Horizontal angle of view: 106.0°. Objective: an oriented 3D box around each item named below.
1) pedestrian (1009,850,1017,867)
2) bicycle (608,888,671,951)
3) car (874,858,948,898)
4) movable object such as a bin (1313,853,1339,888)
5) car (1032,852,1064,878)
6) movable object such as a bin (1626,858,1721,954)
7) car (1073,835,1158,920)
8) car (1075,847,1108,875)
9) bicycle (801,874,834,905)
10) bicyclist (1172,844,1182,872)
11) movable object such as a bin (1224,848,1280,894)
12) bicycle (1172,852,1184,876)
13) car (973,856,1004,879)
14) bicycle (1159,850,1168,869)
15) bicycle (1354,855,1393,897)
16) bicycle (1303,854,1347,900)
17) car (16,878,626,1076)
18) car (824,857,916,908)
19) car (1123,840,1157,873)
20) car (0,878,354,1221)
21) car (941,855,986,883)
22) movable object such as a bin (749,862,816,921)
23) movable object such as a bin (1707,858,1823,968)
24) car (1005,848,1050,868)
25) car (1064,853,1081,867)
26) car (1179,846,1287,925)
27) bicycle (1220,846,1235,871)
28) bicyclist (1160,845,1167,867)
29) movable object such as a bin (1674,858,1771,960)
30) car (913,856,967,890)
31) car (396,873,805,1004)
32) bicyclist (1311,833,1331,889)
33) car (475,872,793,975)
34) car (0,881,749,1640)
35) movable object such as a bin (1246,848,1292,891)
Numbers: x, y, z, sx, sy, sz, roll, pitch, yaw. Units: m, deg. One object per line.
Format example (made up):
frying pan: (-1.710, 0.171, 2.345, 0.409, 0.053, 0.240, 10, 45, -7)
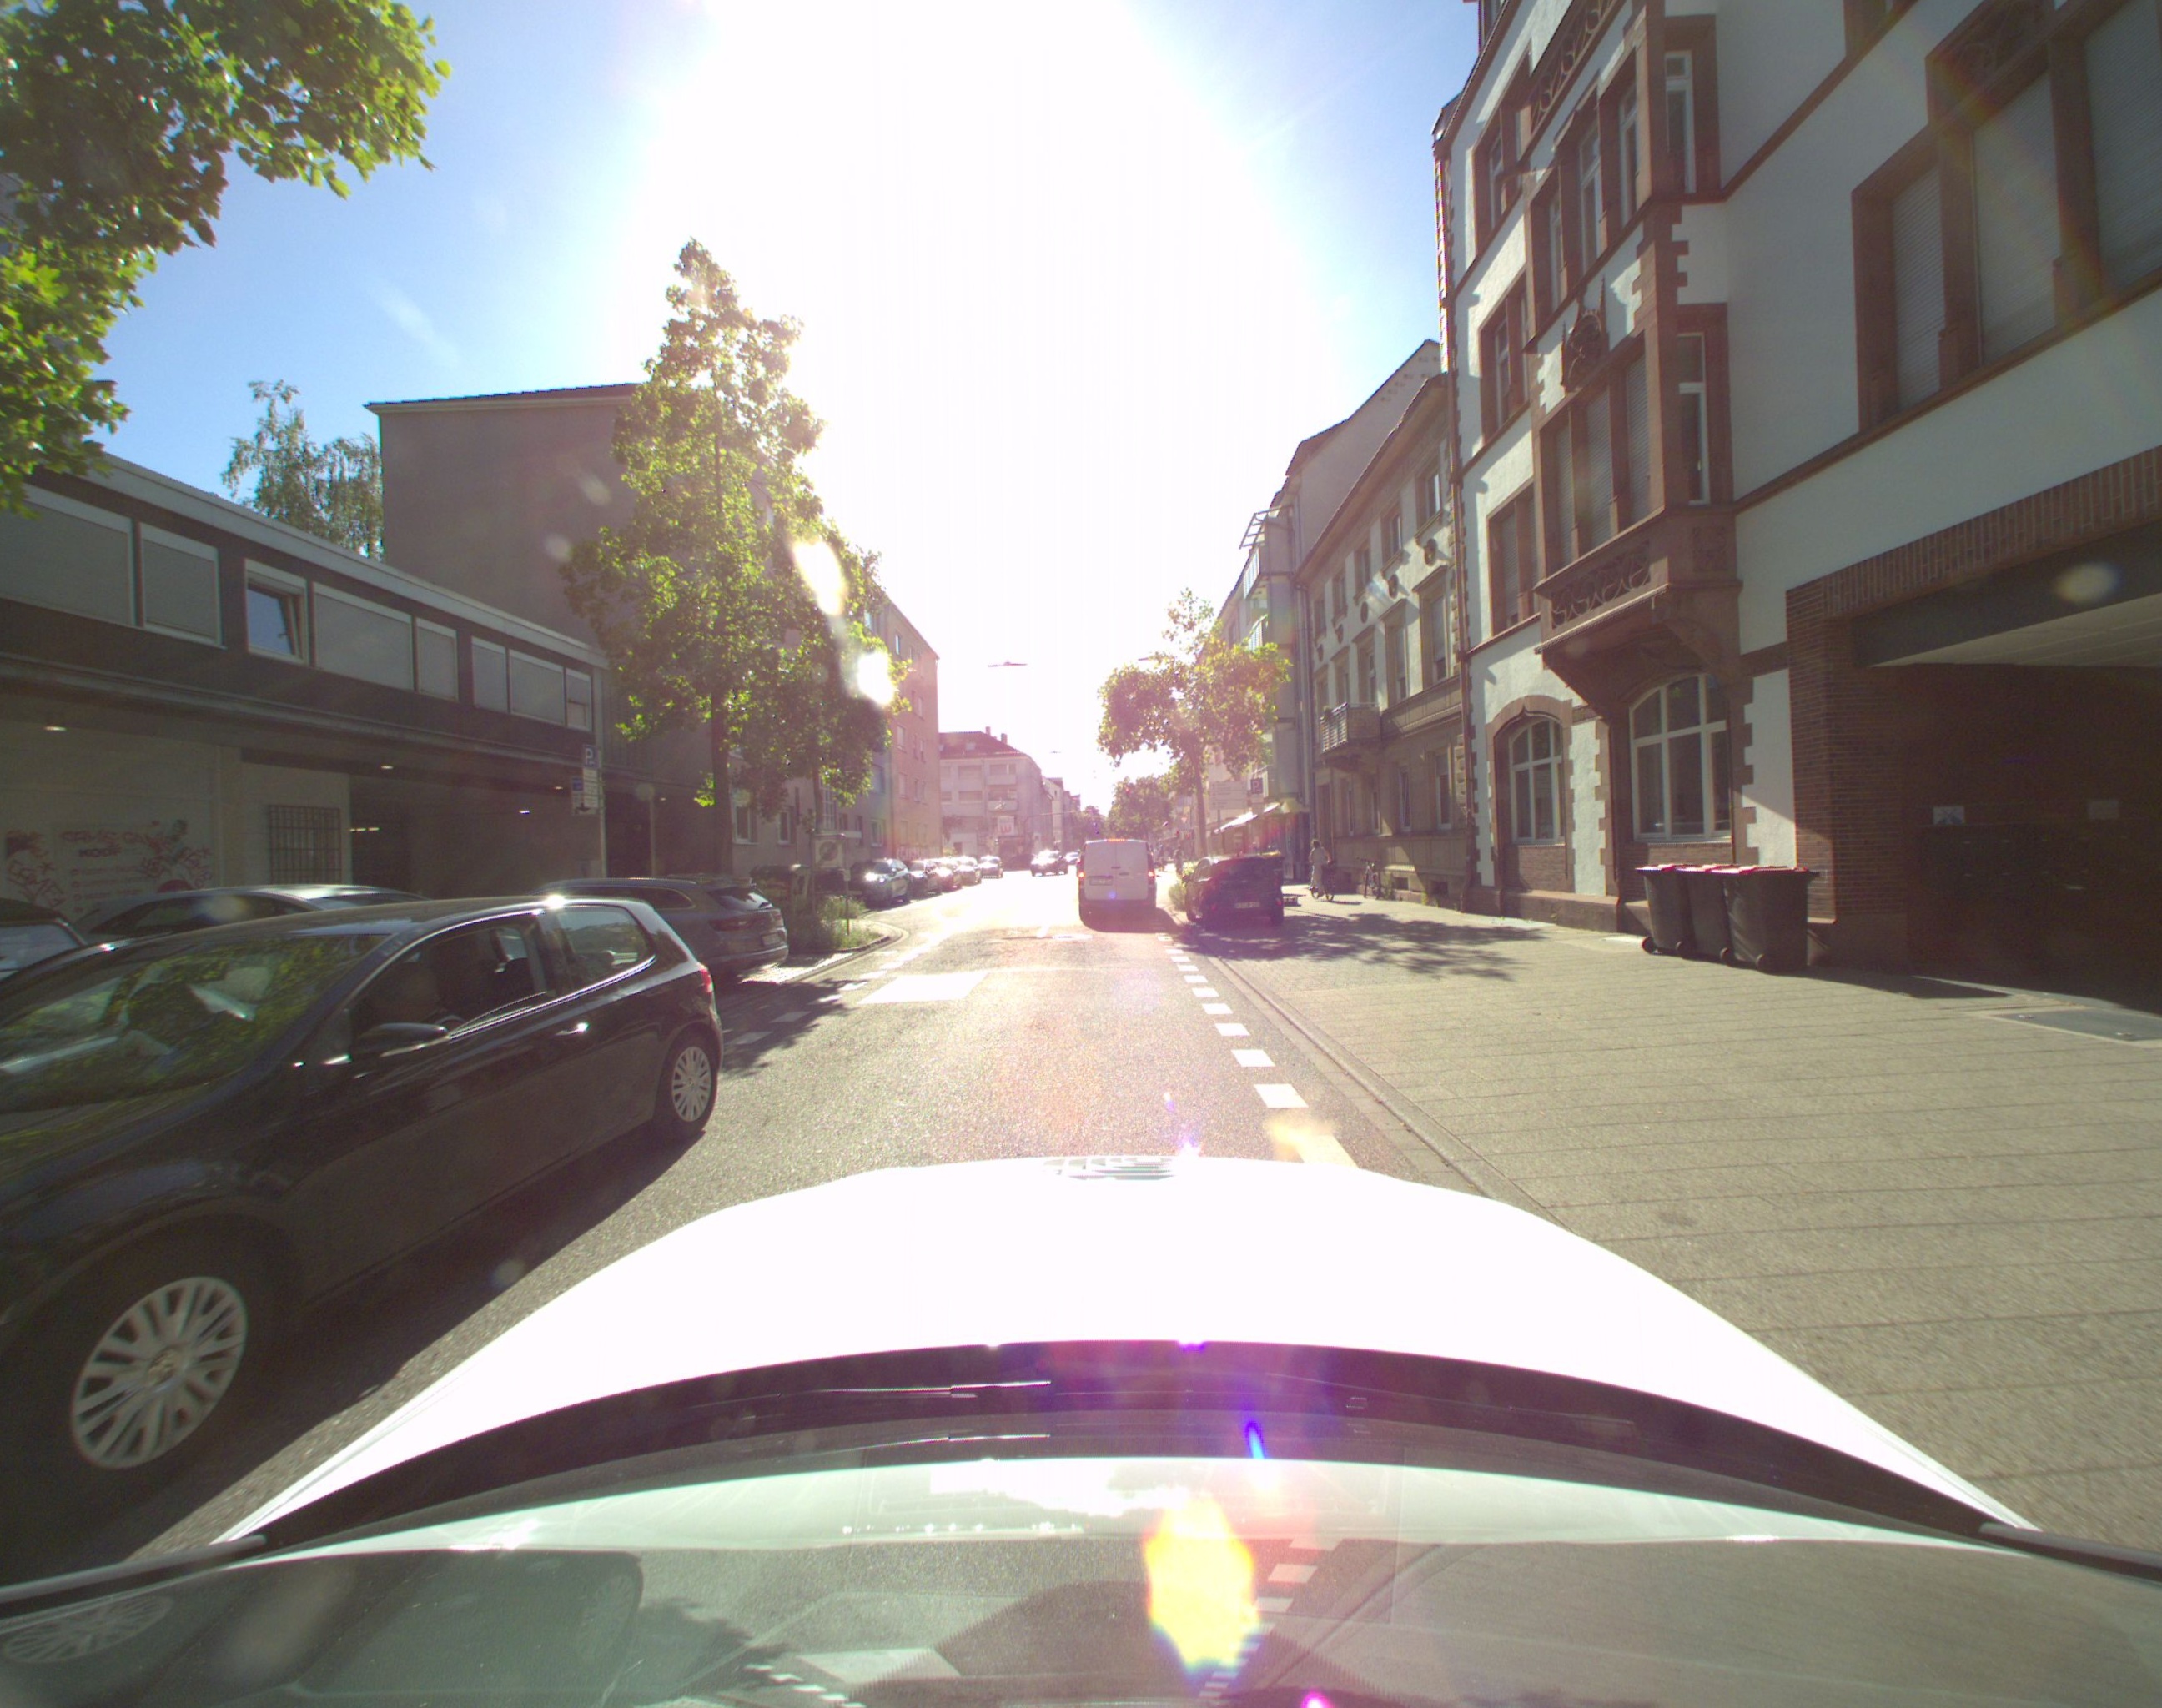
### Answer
pedestrian: (-6.803, 0.486, 81.916, 0.681, 1.663, 0.601, -3, 0, 0)
bicycle: (-8.447, 1.225, 15.618, 0.464, 1.078, 1.343, -2, 0, -1)
car: (-7.083, 0.970, 34.382, 1.985, 1.497, 4.232, 0, 0, 3)
movable object such as a bin: (7.625, 0.509, 25.362, 0.596, 1.042, 0.546, -2, 0, 0)
car: (-2.255, 0.725, 56.826, 1.860, 1.614, 4.428, -3, 0, 1)
movable object such as a bin: (6.987, 0.595, 9.633, 0.635, 1.069, 0.632, -3, 0, 1)
car: (0.773, 0.508, 21.200, 1.915, 1.914, 4.886, -1, 1, -1)
car: (0.630, 0.396, 49.731, 1.839, 1.507, 4.000, -3, 0, 0)
bicycle: (-10.278, 1.370, 31.836, 0.553, 1.102, 1.903, -3, 0, 1)
bicyclist: (5.237, 0.236, 44.404, 0.438, 1.508, 0.497, -2, 0, 1)
movable object such as a bin: (5.360, 0.530, 25.522, 1.278, 1.347, 1.095, -3, 0, -41)
bicycle: (5.261, 0.543, 44.246, 0.473, 1.274, 1.218, -2, 0, 1)
car: (-6.322, 0.877, 56.085, 1.647, 1.479, 4.000, -1, 0, 0)
bicycle: (5.864, 0.397, 57.789, 0.415, 1.310, 1.334, -2, 0, -1)
bicycle: (7.777, 0.570, 21.707, 0.431, 1.030, 1.428, -6, 0, 1)
bicycle: (6.605, 0.597, 22.158, 0.534, 1.148, 2.124, -3, 0, 1)
car: (-6.873, 1.056, 7.756, 3.976, 1.463, 1.811, -2, 0, -2)
car: (-7.244, 0.928, 28.435, 1.869, 1.606, 4.367, -1, 0, 2)
car: (3.701, 0.132, 51.674, 1.810, 1.921, 4.644, -3, 0, 0)
car: (-6.752, 0.992, 4.699, 3.584, 1.552, 1.685, -2, 0, 2)
car: (-6.547, 0.793, 45.799, 1.770, 1.469, 4.760, 0, 0, 1)
movable object such as a bin: (-7.832, 0.977, 21.434, 1.223, 1.450, 1.079, -3, 0, 9)
movable object such as a bin: (7.098, 0.593, 8.476, 0.635, 1.069, 0.639, -3, 0, 1)
car: (-4.845, 0.354, 73.974, 3.977, 1.640, 1.999, -2, 0, -2)
car: (-0.899, 0.629, 89.657, 1.612, 1.398, 3.732, -2, 0, 2)
car: (3.214, 0.617, 17.845, 1.630, 1.475, 3.579, -3, 0, 0)
bicycle: (7.785, 0.251, 43.260, 0.473, 1.274, 1.218, -6, 0, 1)
bicyclist: (5.873, 0.142, 57.911, 0.354, 1.575, 0.481, -1, 0, -2)
movable object such as a bin: (7.103, 0.594, 9.038, 0.635, 1.069, 0.521, -3, 0, 1)
car: (-6.760, 0.875, 39.462, 1.714, 1.497, 4.628, 0, 0, 1)
car: (-6.063, 1.037, 10.607, 4.286, 1.460, 1.764, -1, 0, 3)
bicyclist: (6.507, 0.182, 22.130, 0.359, 1.477, 0.531, -2, 0, 1)
car: (-7.210, 1.095, 13.420, 4.289, 1.433, 1.645, -2, 0, 1)
car: (-3.100, 0.955, 3.237, 1.756, 1.438, 3.962, -4, 0, 2)
movable object such as a bin: (6.173, 0.507, 26.744, 1.028, 1.347, 1.116, -2, 0, 40)
